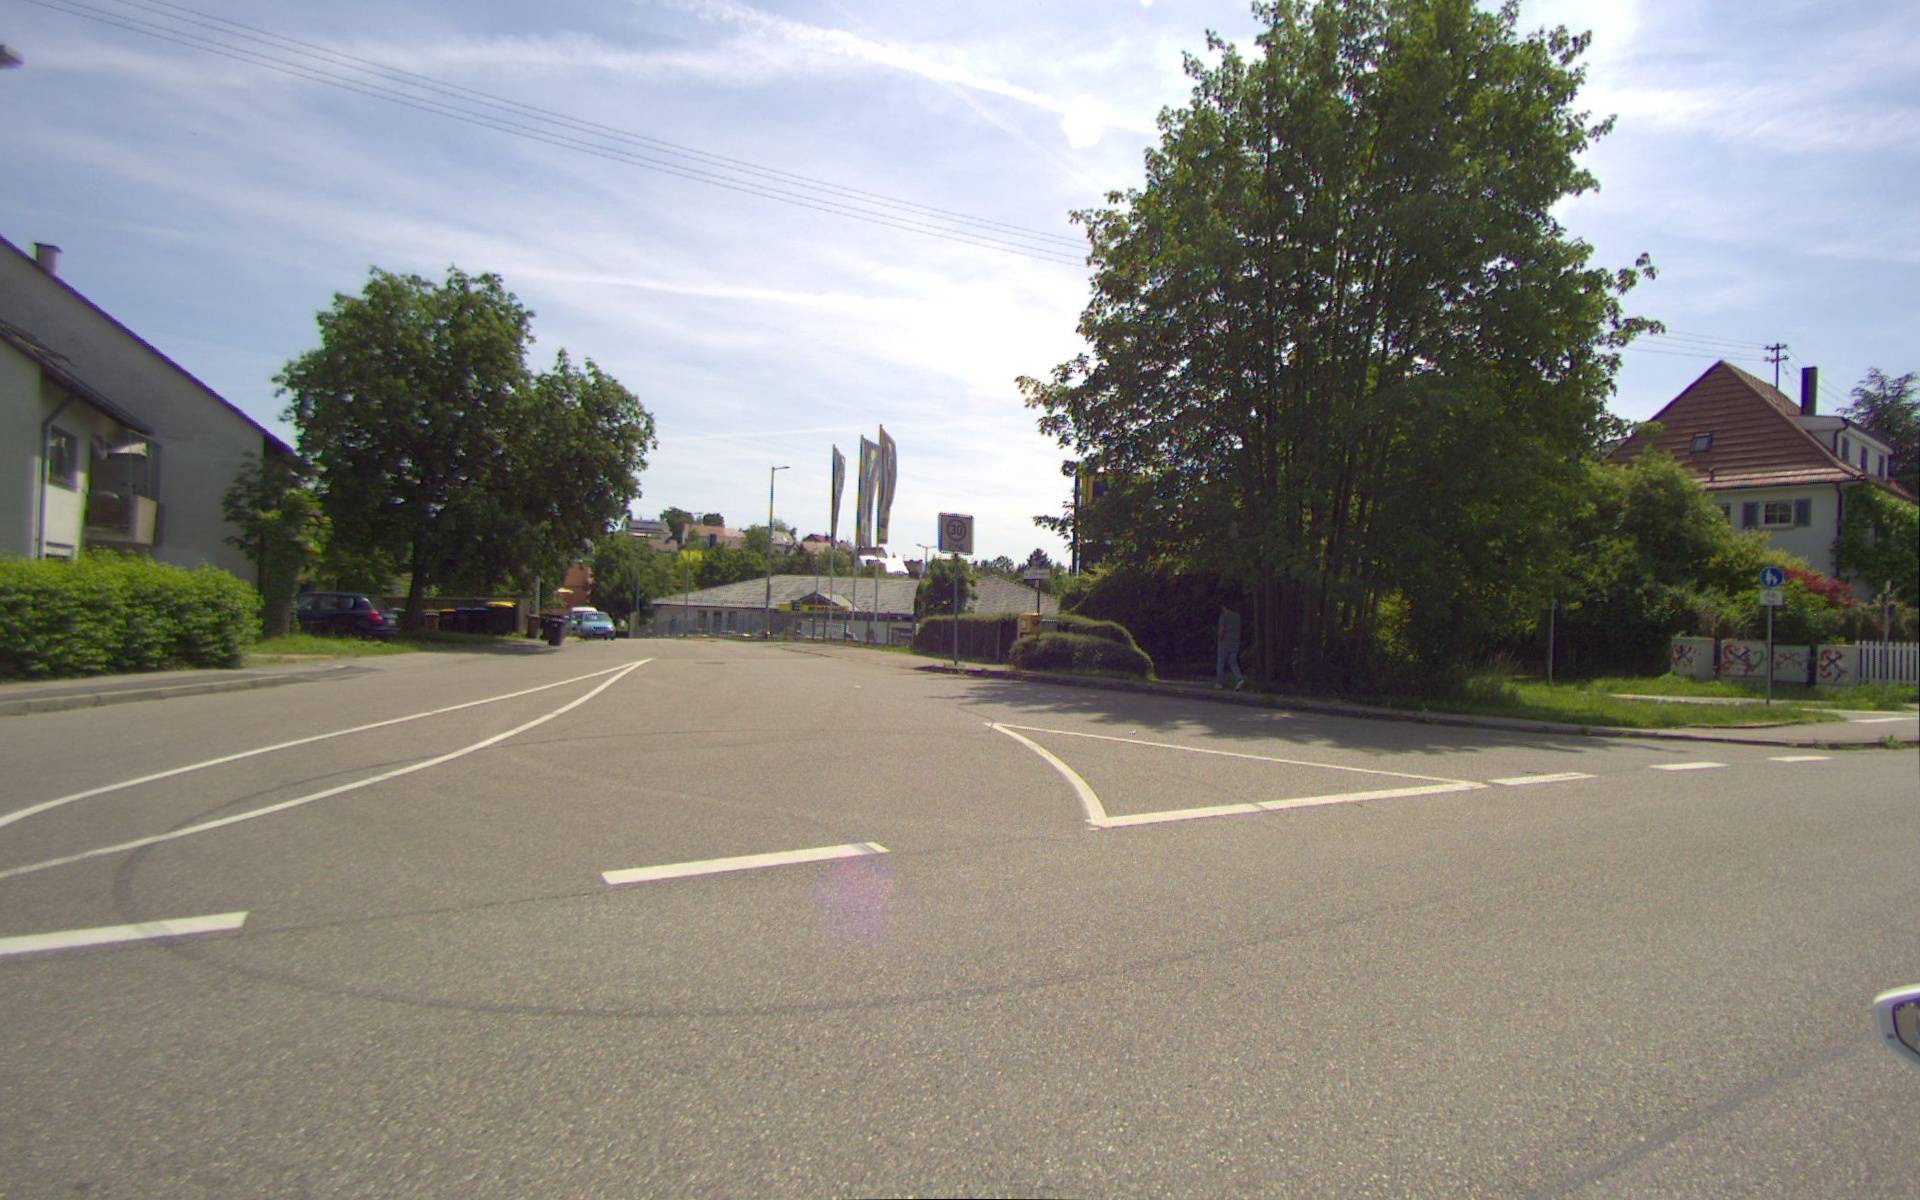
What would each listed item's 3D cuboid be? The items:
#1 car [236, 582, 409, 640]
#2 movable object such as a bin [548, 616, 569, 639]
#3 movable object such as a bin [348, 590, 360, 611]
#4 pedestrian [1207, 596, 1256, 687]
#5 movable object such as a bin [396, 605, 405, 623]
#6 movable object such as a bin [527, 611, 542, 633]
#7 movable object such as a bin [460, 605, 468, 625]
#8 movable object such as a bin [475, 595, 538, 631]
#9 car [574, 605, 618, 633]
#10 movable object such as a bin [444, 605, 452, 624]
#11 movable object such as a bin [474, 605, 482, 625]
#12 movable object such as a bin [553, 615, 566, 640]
[{"bbox_3d":[-16.762,0.303,26.571,3.545,1.380,1.394,2,0,-13],"label":"car"},{"bbox_3d":[-15.983,1.078,39.995,0.510,0.886,0.516,2,0,21],"label":"movable object such as a bin"},{"bbox_3d":[-21.660,0.031,35.895,0.232,0.738,0.250,2,0,21],"label":"movable object such as a bin"},{"bbox_3d":[5.554,0.848,20.582,0.678,1.800,0.736,2,-2,-12],"label":"pedestrian"},{"bbox_3d":[-22.107,0.554,39.689,0.232,0.738,0.229,2,0,33],"label":"movable object such as a bin"},{"bbox_3d":[-17.119,0.873,40.404,0.364,0.868,0.373,2,0,8],"label":"movable object such as a bin"},{"bbox_3d":[-20.093,0.603,40.702,0.233,0.815,0.229,2,0,44],"label":"movable object such as a bin"},{"bbox_3d":[-18.265,0.521,40.517,1.485,1.405,2.208,0,-1,2],"label":"movable object such as a bin"},{"bbox_3d":[-18.700,1.025,51.498,1.733,1.352,3.843,1,-2,-26],"label":"car"},{"bbox_3d":[-20.589,0.588,40.381,0.233,0.738,0.229,2,0,44],"label":"movable object such as a bin"},{"bbox_3d":[-19.692,0.622,41.036,0.233,0.815,0.229,2,0,44],"label":"movable object such as a bin"},{"bbox_3d":[-14.635,1.001,36.721,0.391,0.886,0.390,2,0,-23],"label":"movable object such as a bin"}]
